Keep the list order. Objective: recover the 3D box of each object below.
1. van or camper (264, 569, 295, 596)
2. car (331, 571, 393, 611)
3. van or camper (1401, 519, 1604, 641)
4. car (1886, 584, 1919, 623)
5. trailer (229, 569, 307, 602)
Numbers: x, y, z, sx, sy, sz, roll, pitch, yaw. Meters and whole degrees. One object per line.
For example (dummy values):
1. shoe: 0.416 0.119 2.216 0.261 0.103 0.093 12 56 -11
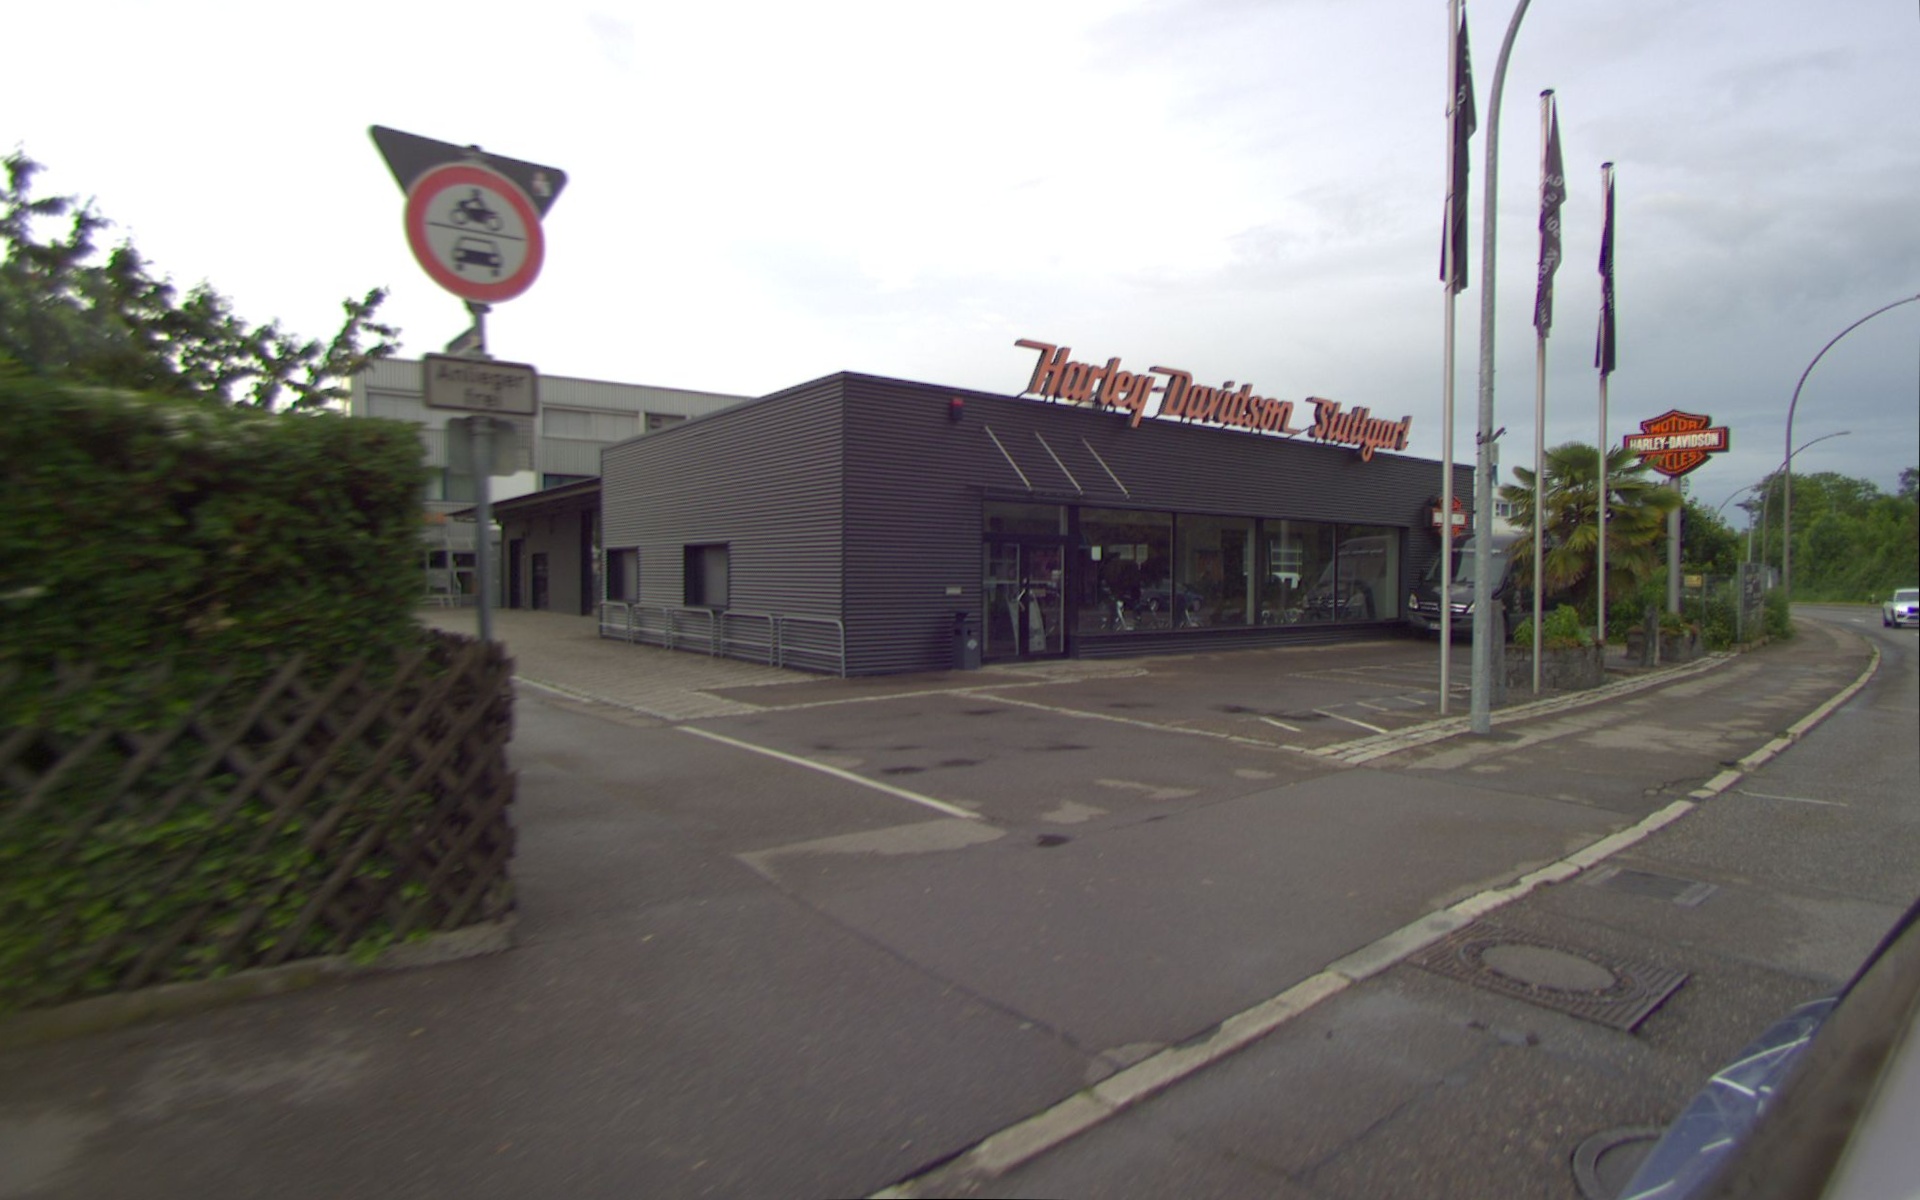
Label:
1. van or camper: -52.863 -1.386 78.618 1.962 2.039 4.001 0 1 -34
2. car: -24.566 -0.314 41.532 1.961 1.503 4.000 1 -2 -34
3. van or camper: 13.376 -0.478 24.717 6.471 2.626 2.046 -1 1 -39
4. car: 40.941 0.147 42.816 1.834 1.594 3.785 1 1 31
5. trailer: -42.391 -0.879 62.024 3.925 1.961 2.000 0 1 -36
